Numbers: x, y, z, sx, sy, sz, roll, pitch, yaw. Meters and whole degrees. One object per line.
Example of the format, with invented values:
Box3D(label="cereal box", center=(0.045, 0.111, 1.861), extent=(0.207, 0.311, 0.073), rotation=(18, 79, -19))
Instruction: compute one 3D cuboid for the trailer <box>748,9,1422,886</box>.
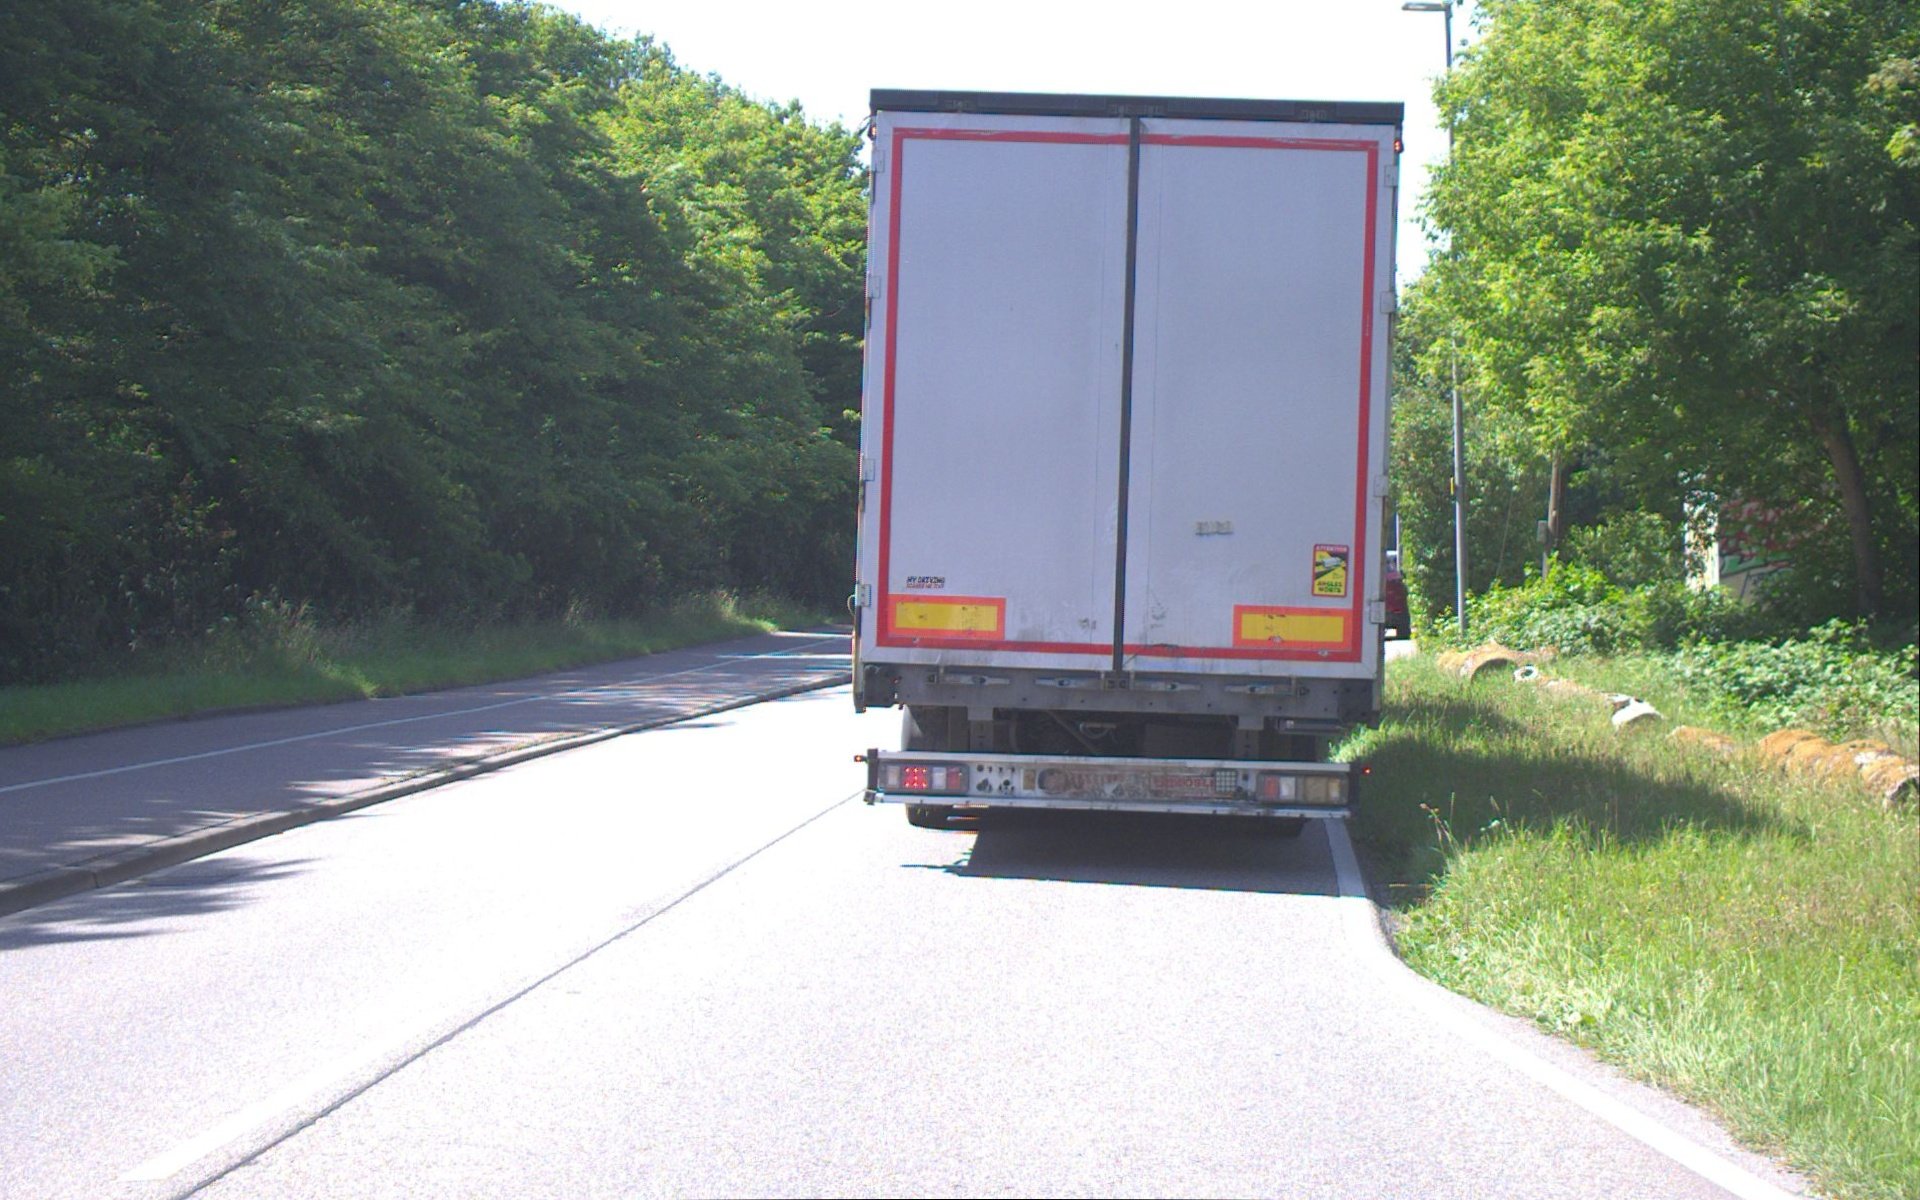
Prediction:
Box3D(label="trailer", center=(0.779, -0.784, 21.032), extent=(3.077, 4.056, 9.808), rotation=(1, 1, 2))

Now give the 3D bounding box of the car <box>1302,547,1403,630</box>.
Box3D(label="car", center=(7.410, -0.238, 65.161), extent=(1.711, 1.525, 3.850), rotation=(0, 1, 4))

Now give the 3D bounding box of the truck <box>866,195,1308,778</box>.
Box3D(label="truck", center=(1.100, -0.864, 27.990), extent=(3.077, 4.056, 7.958), rotation=(0, 1, 3))
